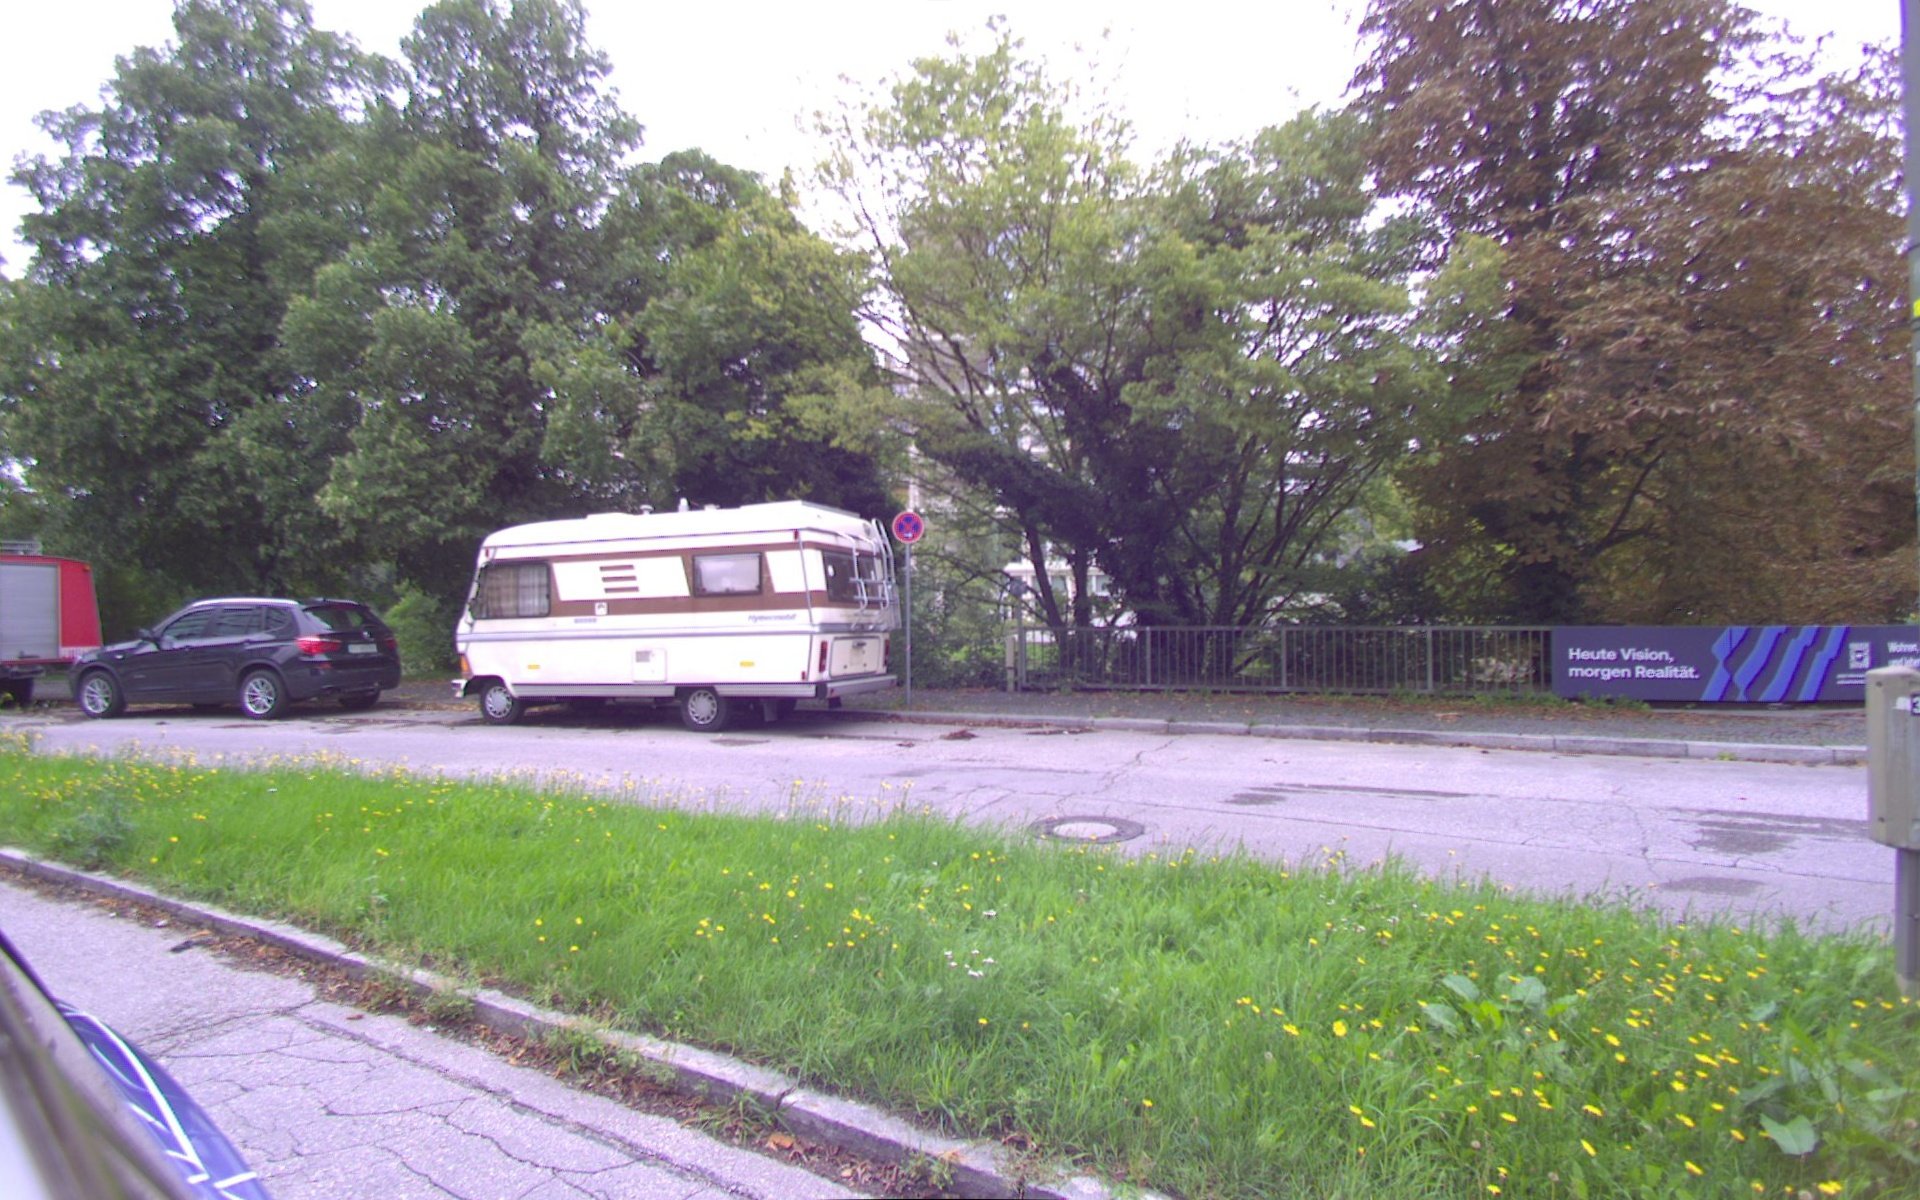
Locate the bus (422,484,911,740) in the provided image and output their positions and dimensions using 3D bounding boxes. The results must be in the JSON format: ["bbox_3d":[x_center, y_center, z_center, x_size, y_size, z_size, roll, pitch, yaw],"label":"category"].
[{"bbox_3d":[-3.674,0.197,12.787,5.690,2.719,2.308,-1,-2,20],"label":"bus"}]

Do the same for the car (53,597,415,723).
[{"bbox_3d":[-10.493,0.840,14.736,4.413,1.662,1.775,-1,-2,12],"label":"car"}]

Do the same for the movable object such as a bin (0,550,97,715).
[{"bbox_3d":[-17.334,0.532,16.266,6.126,2.477,2.102,-1,-2,14],"label":"movable object such as a bin"}]
